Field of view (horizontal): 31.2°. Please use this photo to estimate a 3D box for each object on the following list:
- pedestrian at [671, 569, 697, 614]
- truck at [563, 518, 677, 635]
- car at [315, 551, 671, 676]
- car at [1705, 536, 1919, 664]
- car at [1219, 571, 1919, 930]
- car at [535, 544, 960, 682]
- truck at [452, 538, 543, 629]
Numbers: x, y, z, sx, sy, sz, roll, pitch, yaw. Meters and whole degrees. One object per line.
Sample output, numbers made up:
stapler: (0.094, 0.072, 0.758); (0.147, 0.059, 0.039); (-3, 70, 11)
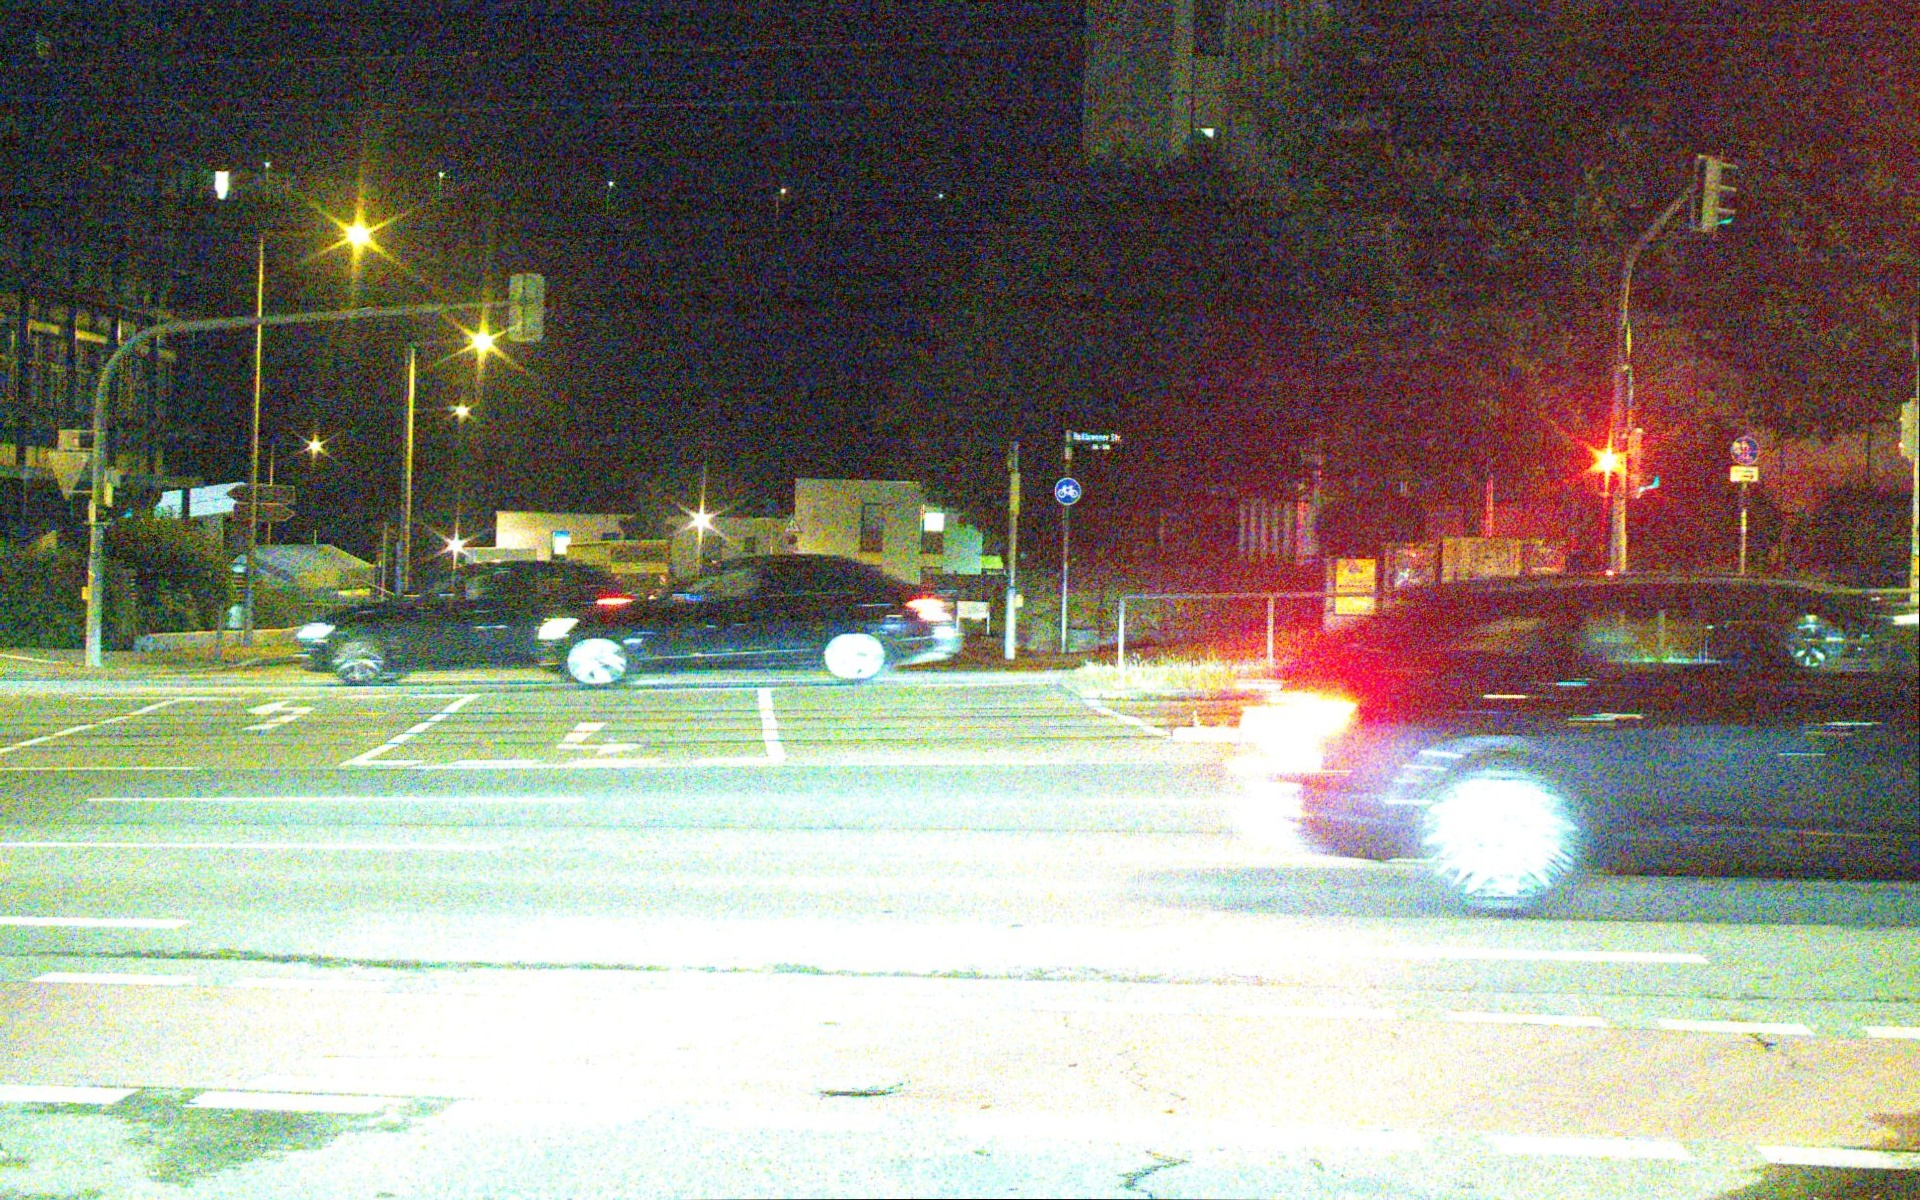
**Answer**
pedestrian: (-11.850, -0.376, 147.647); (0.849, 1.905, 1.007); (1, 0, -18)
truck: (-14.777, -1.001, 148.849); (3.359, 4.826, 7.908); (1, 0, -17)
car: (-5.457, 0.151, 40.484); (3.871, 1.400, 1.769); (-1, 0, 3)
car: (11.181, -0.020, 39.658); (4.819, 1.415, 1.851); (-1, 0, 3)
car: (3.638, 0.625, 15.279); (4.921, 1.468, 1.745); (0, 2, 3)
car: (-2.269, 0.131, 37.475); (4.427, 1.415, 1.851); (-1, 0, 3)
truck: (-16.246, -0.566, 120.581); (2.417, 3.078, 6.439); (1, 0, -14)
